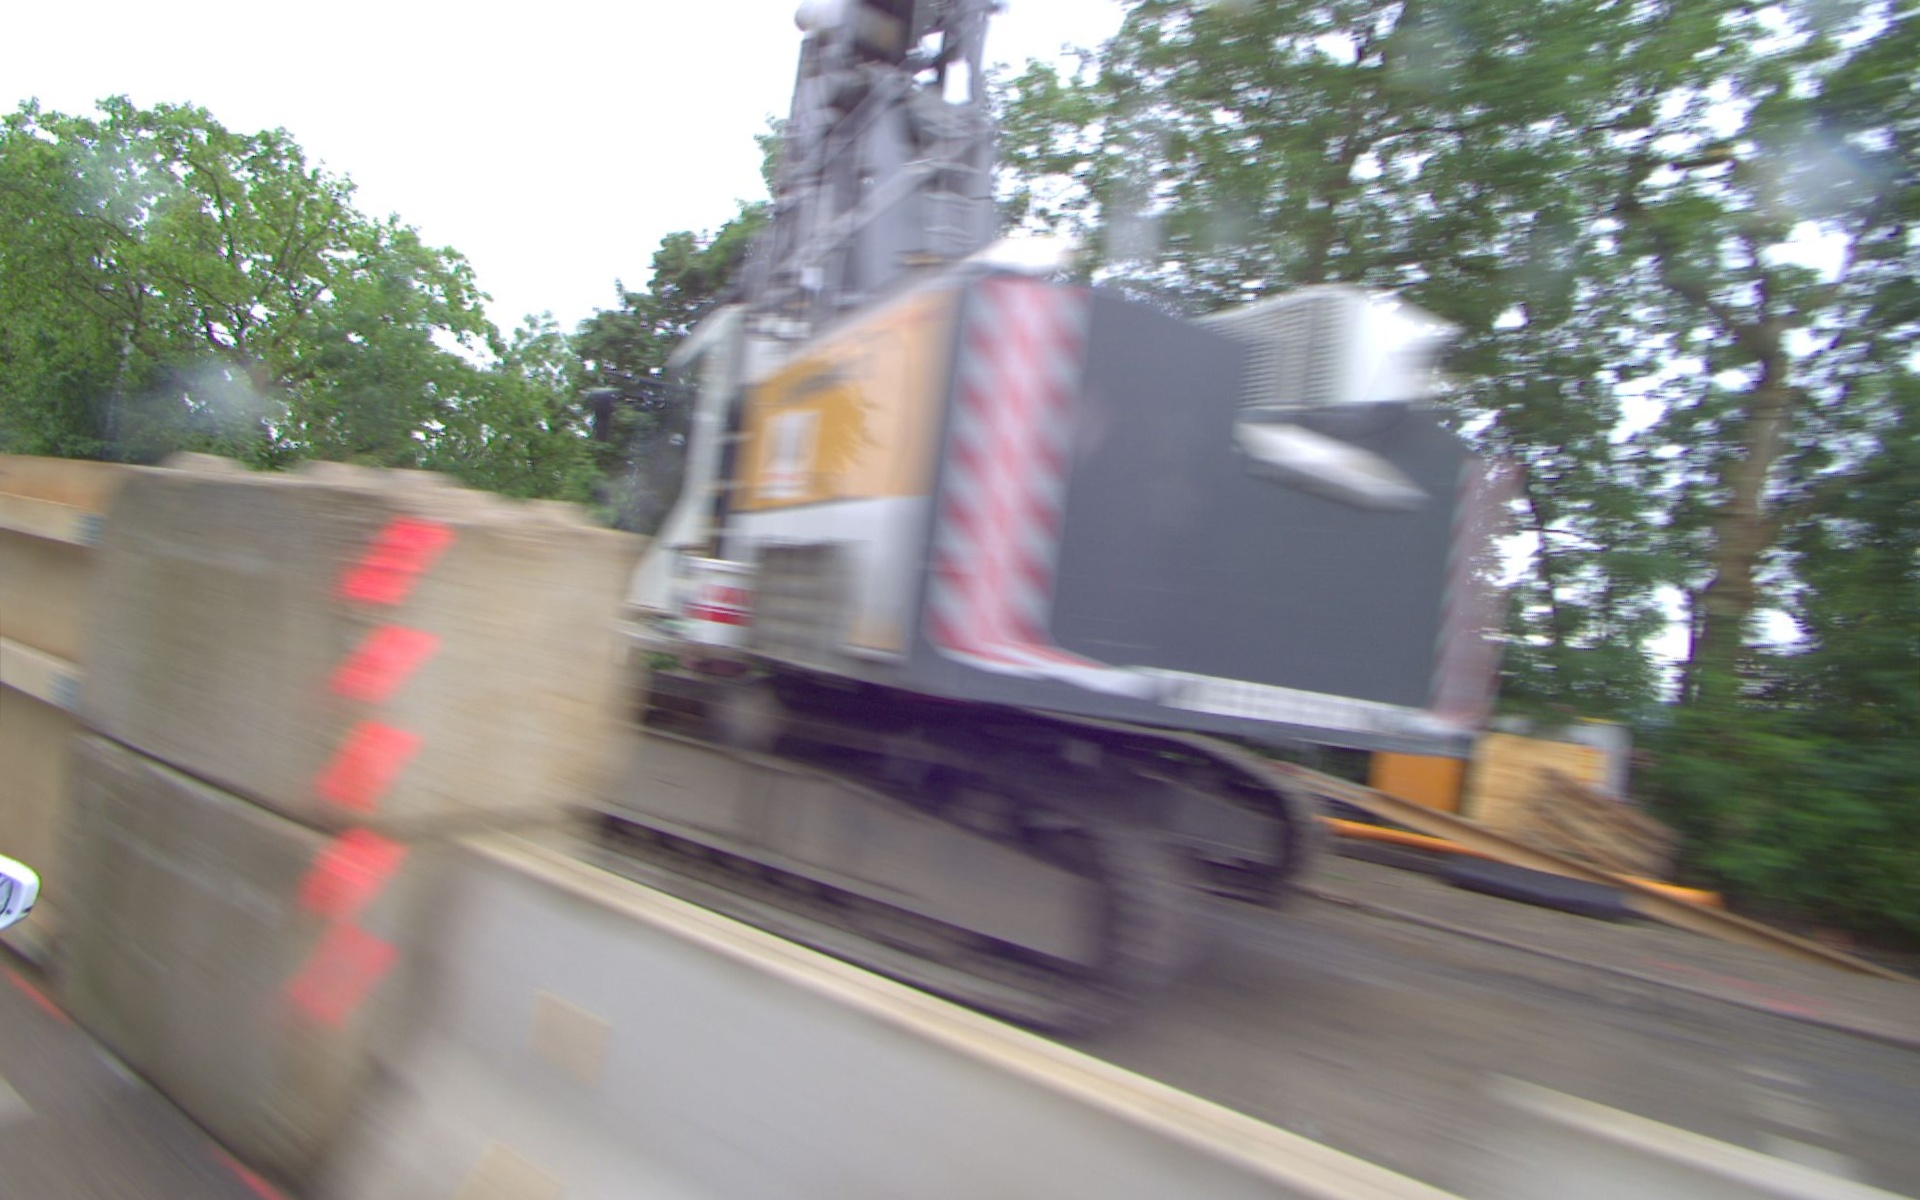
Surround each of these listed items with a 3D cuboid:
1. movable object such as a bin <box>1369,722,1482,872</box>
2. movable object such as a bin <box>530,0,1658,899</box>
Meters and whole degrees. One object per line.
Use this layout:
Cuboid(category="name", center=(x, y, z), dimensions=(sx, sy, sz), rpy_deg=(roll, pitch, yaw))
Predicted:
Cuboid(category="movable object such as a bin", center=(4.741, 1.972, 10.238), dimensions=(0.829, 1.323, 0.757), rpy_deg=(7, -2, 31))
Cuboid(category="movable object such as a bin", center=(-0.227, -1.618, 6.867), dimensions=(3.655, 5.126, 7.108), rpy_deg=(7, -1, -30))
